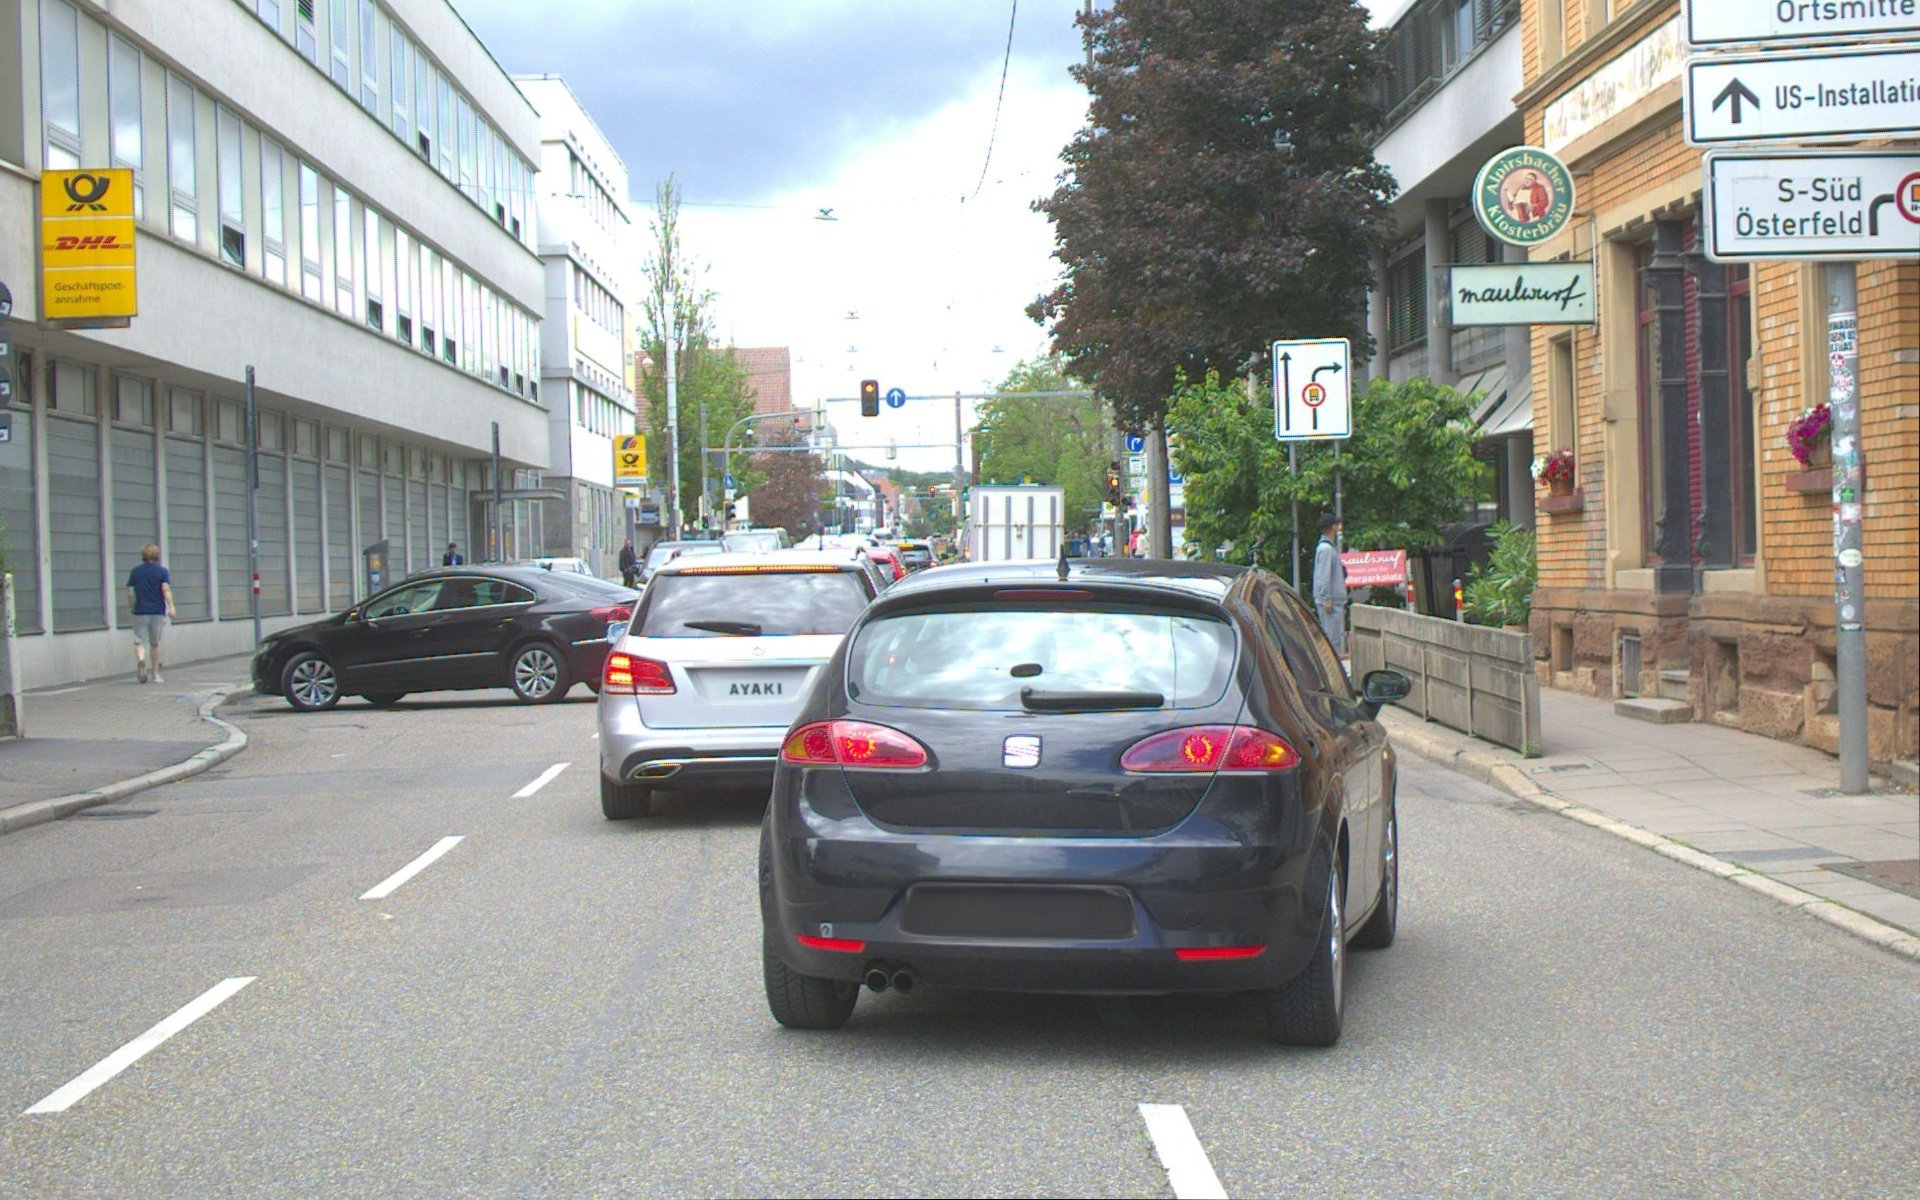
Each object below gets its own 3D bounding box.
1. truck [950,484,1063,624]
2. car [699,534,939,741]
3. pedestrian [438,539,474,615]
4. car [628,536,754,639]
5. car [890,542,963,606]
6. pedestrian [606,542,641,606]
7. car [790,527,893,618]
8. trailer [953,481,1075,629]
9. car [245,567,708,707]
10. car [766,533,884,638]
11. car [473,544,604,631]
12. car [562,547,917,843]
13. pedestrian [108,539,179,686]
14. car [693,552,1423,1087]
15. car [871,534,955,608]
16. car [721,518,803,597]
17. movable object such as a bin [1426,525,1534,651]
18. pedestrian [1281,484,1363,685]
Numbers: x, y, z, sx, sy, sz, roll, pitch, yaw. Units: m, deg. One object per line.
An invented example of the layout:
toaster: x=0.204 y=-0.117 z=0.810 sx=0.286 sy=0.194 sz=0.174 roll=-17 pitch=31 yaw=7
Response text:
truck: x=0.877 y=-0.901 z=66.576 sx=1.993 sy=2.598 sz=3.260 roll=-1 pitch=1 yaw=-2
car: x=-1.130 y=0.256 z=28.211 sx=1.803 sy=1.547 sz=3.738 roll=-1 pitch=1 yaw=-2
pedestrian: x=-10.979 y=-0.505 z=74.868 sx=0.656 sy=1.617 sz=0.681 roll=-1 pitch=1 yaw=0
car: x=-4.882 y=-0.267 z=62.854 sx=1.993 sy=1.733 sz=4.554 roll=-2 pitch=1 yaw=-2
car: x=-0.884 y=-0.692 z=88.459 sx=1.803 sy=1.596 sz=3.738 roll=0 pitch=1 yaw=-2
pedestrian: x=-9.879 y=-0.773 z=101.025 sx=0.918 sy=1.862 sz=0.783 roll=-2 pitch=1 yaw=-1
car: x=-2.128 y=-0.513 z=62.284 sx=1.803 sy=1.596 sz=3.738 roll=0 pitch=1 yaw=-2
trailer: x=0.956 y=-0.844 z=63.810 sx=1.993 sy=2.598 sz=5.350 roll=-1 pitch=1 yaw=-2
car: x=-4.999 y=0.380 z=35.546 sx=4.403 sy=1.361 sz=1.784 roll=-1 pitch=1 yaw=21
car: x=-2.114 y=-0.254 z=54.425 sx=1.803 sy=1.596 sz=3.738 roll=0 pitch=1 yaw=-2
car: x=-7.745 y=-0.256 z=63.530 sx=1.993 sy=1.511 sz=4.175 roll=-1 pitch=1 yaw=-2
car: x=-1.190 y=0.463 z=19.677 sx=1.803 sy=1.487 sz=3.738 roll=-1 pitch=1 yaw=-2
pedestrian: x=-9.908 y=0.143 z=41.737 sx=0.642 sy=1.763 sz=0.810 roll=-1 pitch=1 yaw=-2
car: x=0.508 y=0.588 z=11.460 sx=1.766 sy=1.428 sz=3.826 roll=-1 pitch=1 yaw=12
car: x=-1.059 y=-0.656 z=76.013 sx=1.803 sy=1.596 sz=3.738 roll=0 pitch=1 yaw=-2
car: x=-5.341 y=-1.173 z=93.357 sx=1.993 sy=2.007 sz=4.903 roll=-2 pitch=1 yaw=-2
movable object such as a bin: x=6.325 y=-0.157 z=41.894 sx=0.943 sy=1.465 sz=1.446 roll=-3 pitch=1 yaw=-3
pedestrian: x=3.668 y=-0.159 z=34.885 sx=0.693 sy=2.007 sz=0.677 roll=-1 pitch=1 yaw=-2
